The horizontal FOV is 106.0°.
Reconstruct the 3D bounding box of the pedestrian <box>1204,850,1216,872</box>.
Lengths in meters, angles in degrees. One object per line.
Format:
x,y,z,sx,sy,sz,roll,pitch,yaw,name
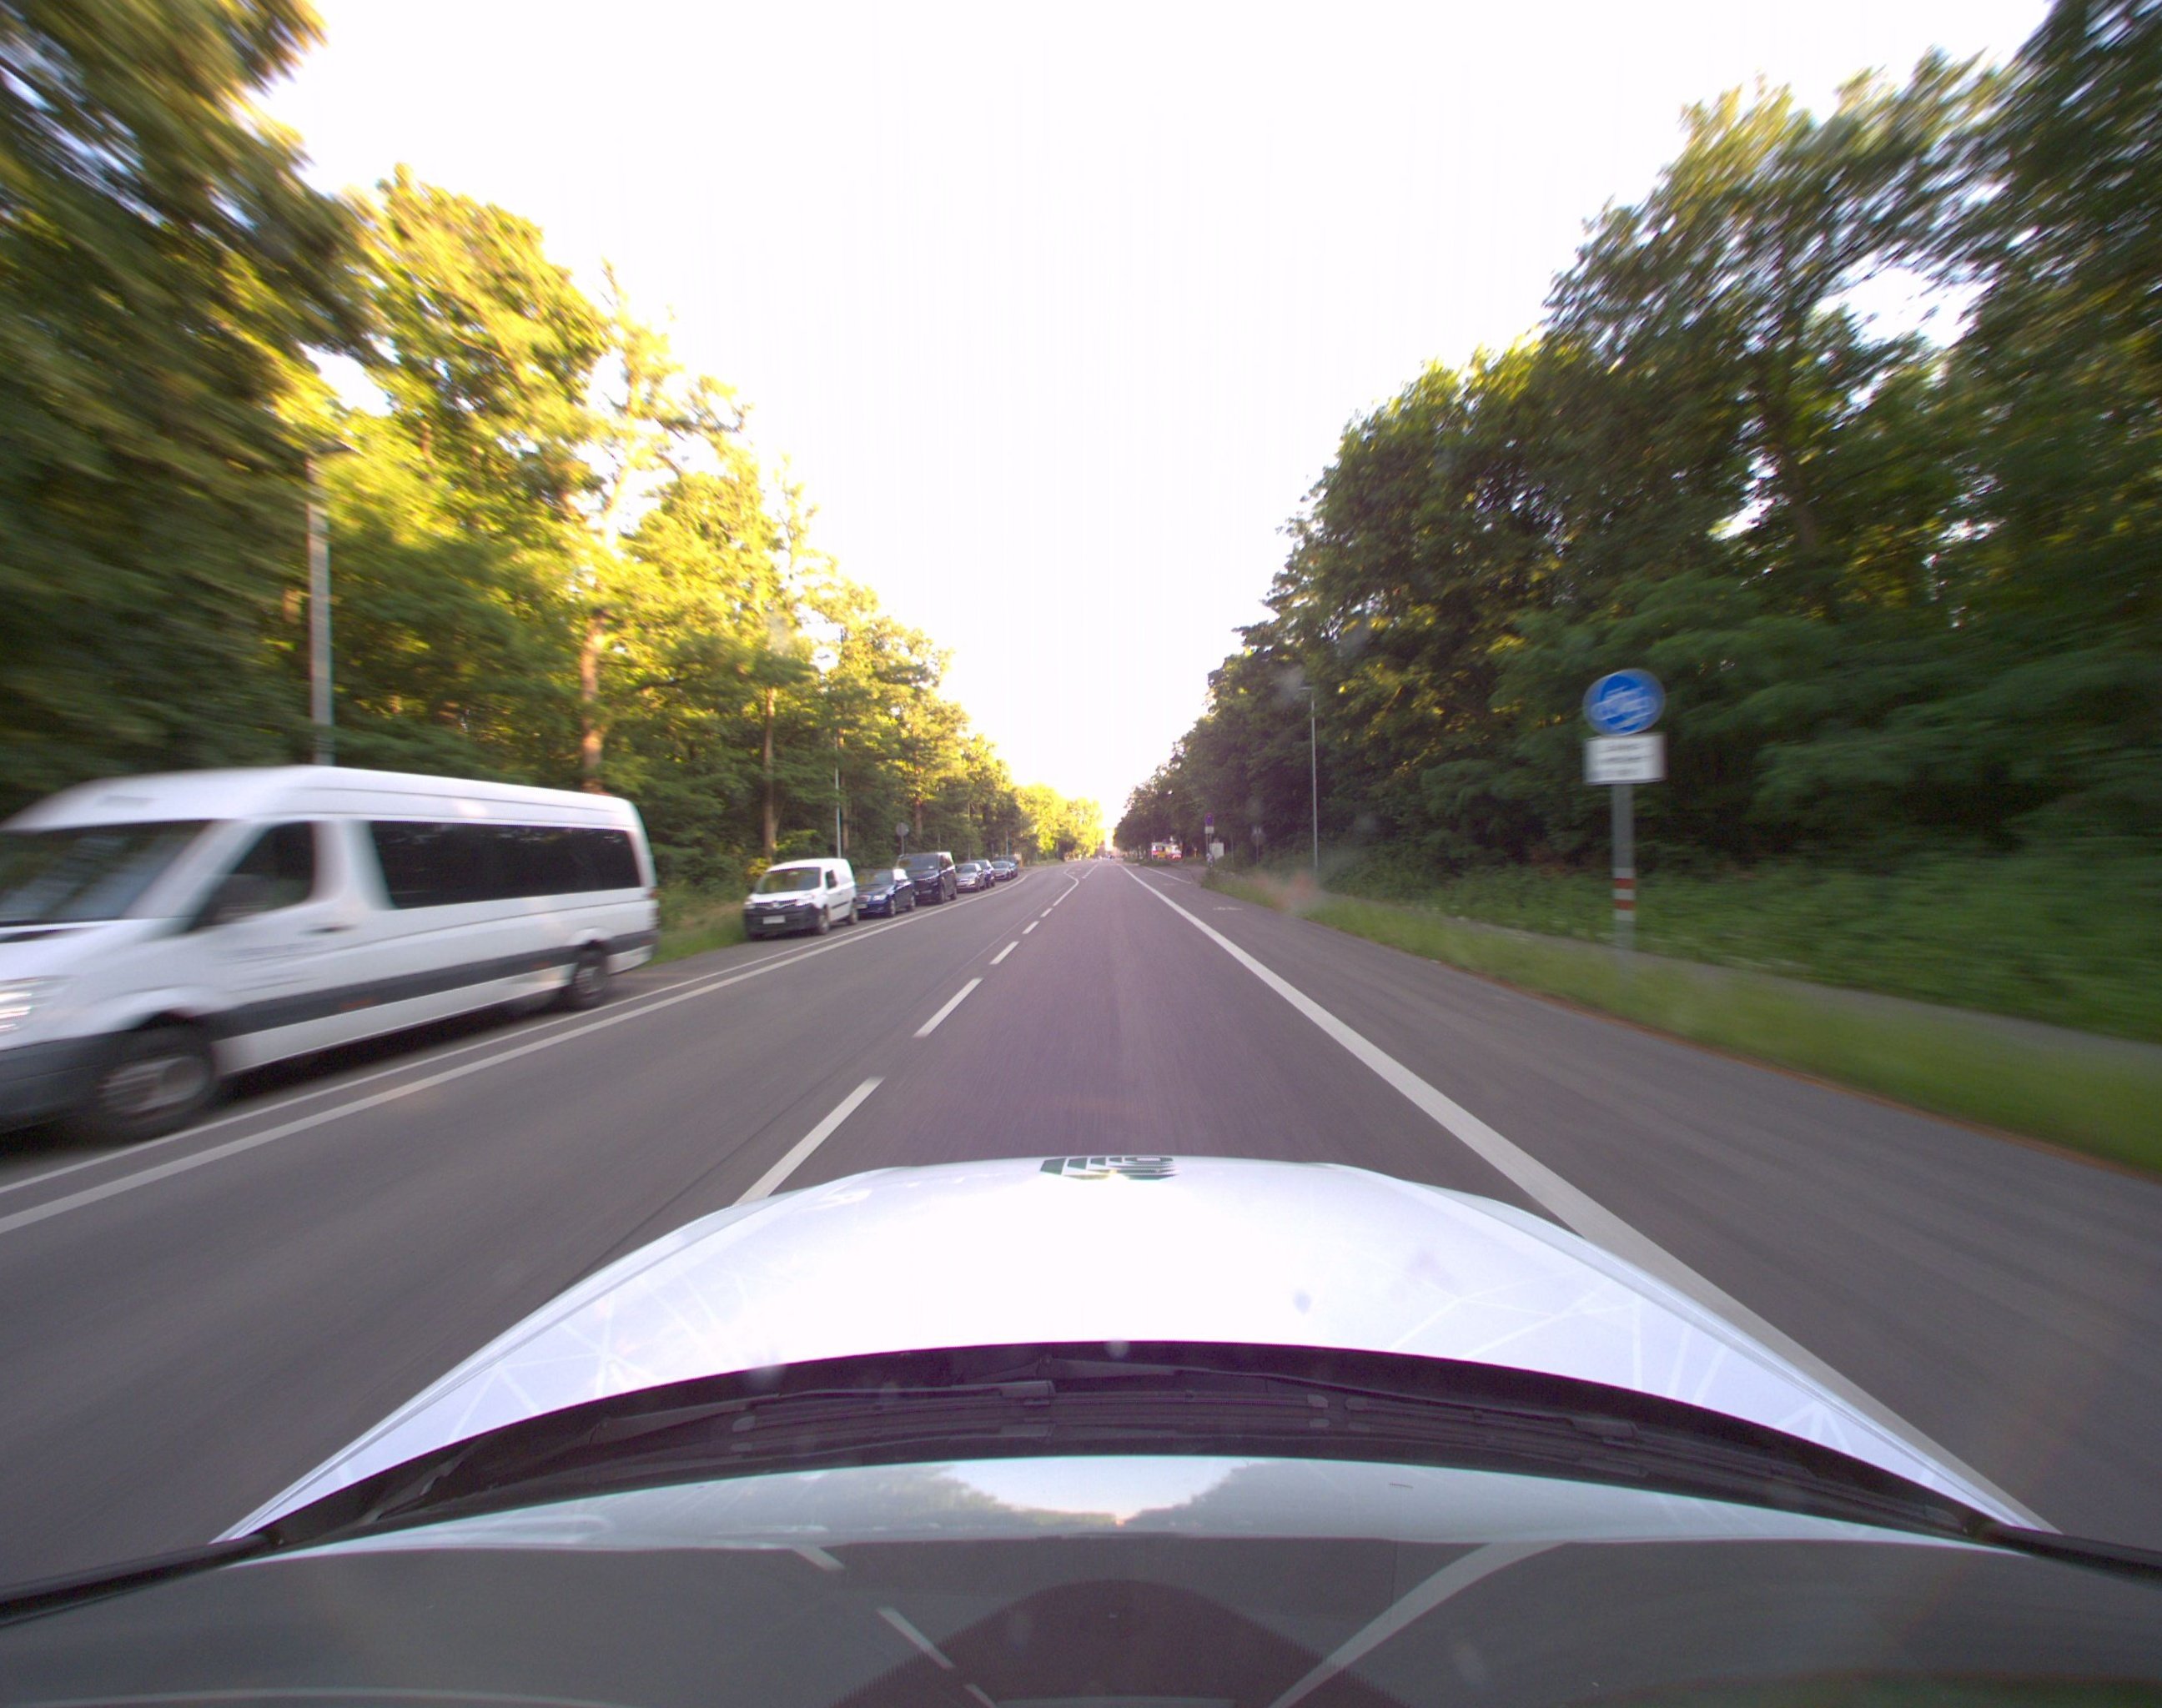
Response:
10.250,0.573,64.612,0.835,1.751,0.726,-2,-1,2,pedestrian

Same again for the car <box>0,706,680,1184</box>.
-6.848,0.565,7.878,2.071,2.606,7.091,-5,0,2,car

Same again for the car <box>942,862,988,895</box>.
-5.885,1.203,41.642,1.663,1.501,4.245,-3,0,0,car

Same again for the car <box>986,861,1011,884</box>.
-6.089,1.314,60.308,1.613,1.534,4.035,-3,0,-3,car

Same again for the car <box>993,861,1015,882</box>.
-6.173,1.378,65.636,1.540,1.493,3.965,-3,0,-4,car

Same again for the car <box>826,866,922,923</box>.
-6.291,1.180,25.282,1.663,1.433,4.448,-4,0,2,car

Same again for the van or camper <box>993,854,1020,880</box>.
-6.531,1.155,71.901,2.026,2.094,5.010,-3,0,-2,van or camper

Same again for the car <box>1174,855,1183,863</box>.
20.604,1.063,172.322,1.761,1.583,4.826,0,-1,6,car

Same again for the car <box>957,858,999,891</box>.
-5.882,1.115,46.955,1.739,1.712,4.522,-3,0,0,car

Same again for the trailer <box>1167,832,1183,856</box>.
21.315,-2.213,184.954,3.008,5.462,7.940,-2,0,3,trailer

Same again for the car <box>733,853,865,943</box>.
-6.818,0.972,20.175,1.683,1.858,4.385,-4,0,-1,car

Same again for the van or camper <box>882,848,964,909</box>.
-5.992,0.881,31.659,1.996,2.018,5.460,-4,0,0,van or camper
